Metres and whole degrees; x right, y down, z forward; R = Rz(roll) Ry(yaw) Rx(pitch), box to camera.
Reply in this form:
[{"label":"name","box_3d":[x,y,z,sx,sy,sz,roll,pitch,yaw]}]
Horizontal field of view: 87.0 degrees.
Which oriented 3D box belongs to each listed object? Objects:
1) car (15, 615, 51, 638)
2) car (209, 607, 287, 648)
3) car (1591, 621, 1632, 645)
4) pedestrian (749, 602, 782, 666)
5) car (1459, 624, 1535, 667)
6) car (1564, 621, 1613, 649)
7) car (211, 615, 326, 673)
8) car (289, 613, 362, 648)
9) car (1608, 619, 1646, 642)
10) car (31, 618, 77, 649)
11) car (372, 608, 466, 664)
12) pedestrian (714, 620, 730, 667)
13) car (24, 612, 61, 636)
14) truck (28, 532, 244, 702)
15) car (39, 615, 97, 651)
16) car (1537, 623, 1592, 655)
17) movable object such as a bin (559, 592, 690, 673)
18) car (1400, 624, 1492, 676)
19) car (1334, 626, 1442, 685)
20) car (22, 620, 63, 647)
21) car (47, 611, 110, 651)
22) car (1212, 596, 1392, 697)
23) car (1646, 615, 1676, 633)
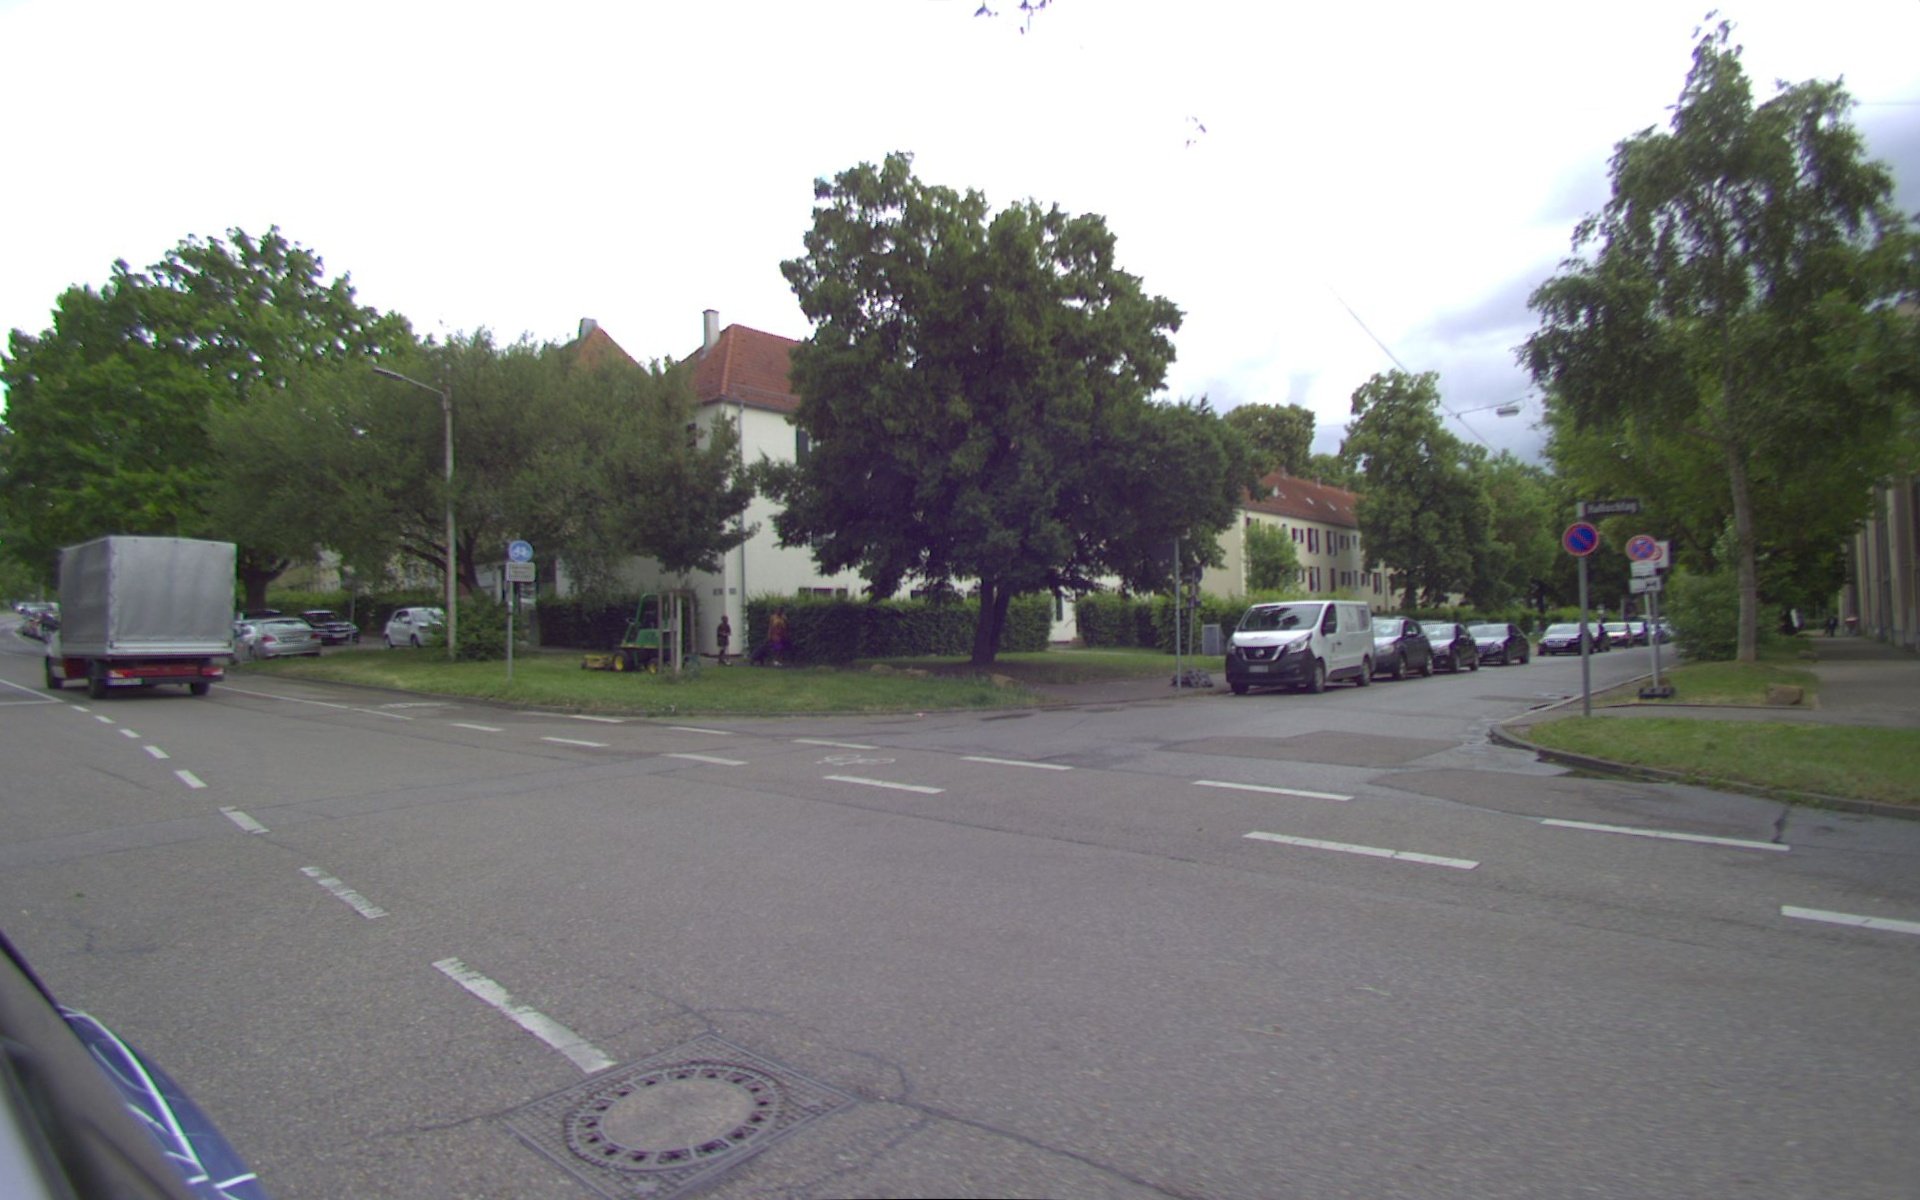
[{"label":"car","box_3d":[-60.407,1.711,65.933,1.598,1.408,3.681,0,0,-44]},{"label":"car","box_3d":[-30.022,1.128,42.628,3.999,1.618,1.836,-1,0,42]},{"label":"car","box_3d":[38.309,1.918,59.482,1.538,1.323,3.490,-1,0,41]},{"label":"pedestrian","box_3d":[-5.436,0.945,28.336,0.682,1.770,0.775,-1,0,8]},{"label":"car","box_3d":[18.573,1.540,34.933,1.538,1.323,3.490,-1,0,41]},{"label":"car","box_3d":[31.770,1.744,51.116,1.538,1.323,3.490,-1,0,41]},{"label":"car","box_3d":[-22.266,1.358,32.537,4.543,1.689,1.973,-1,0,41]},{"label":"car","box_3d":[-27.433,1.288,43.706,3.870,1.442,1.658,-1,0,41]},{"label":"car","box_3d":[42.218,1.893,64.061,1.538,1.323,3.490,-1,0,41]},{"label":"car","box_3d":[-48.880,1.792,54.598,1.693,1.564,3.681,0,0,-44]},{"label":"car","box_3d":[-19.783,1.274,36.947,3.998,1.904,1.733,-1,0,41]},{"label":"pedestrian","box_3d":[-6.586,1.190,27.962,0.353,1.281,0.361,1,-2,-27]},{"label":"car","box_3d":[-56.530,1.464,62.329,1.598,1.408,3.681,0,0,-44]},{"label":"truck","box_3d":[-18.511,0.375,22.567,7.210,3.262,2.342,-1,-1,40]},{"label":"car","box_3d":[-44.289,1.607,50.240,1.970,1.696,4.003,0,0,-44]},{"label":"car","box_3d":[27.517,1.753,46.018,1.538,1.323,3.490,-1,0,41]},{"label":"movable object such as a bin","box_3d":[-8.307,0.780,24.986,3.233,1.918,1.089,-1,0,26]},{"label":"car","box_3d":[14.243,1.418,29.602,1.538,1.323,3.490,-1,0,41]},{"label":"car","box_3d":[11.076,1.366,26.065,1.538,1.323,3.490,-1,0,41]},{"label":"car","box_3d":[-52.803,1.901,58.226,1.598,1.408,3.681,0,0,-44]},{"label":"car","box_3d":[-40.467,1.389,46.420,1.970,1.696,4.003,0,0,-44]},{"label":"car","box_3d":[7.565,0.889,22.030,1.999,1.932,5.088,-1,0,40]},{"label":"car","box_3d":[54.078,1.817,78.030,1.538,1.323,3.490,-1,0,41]}]
